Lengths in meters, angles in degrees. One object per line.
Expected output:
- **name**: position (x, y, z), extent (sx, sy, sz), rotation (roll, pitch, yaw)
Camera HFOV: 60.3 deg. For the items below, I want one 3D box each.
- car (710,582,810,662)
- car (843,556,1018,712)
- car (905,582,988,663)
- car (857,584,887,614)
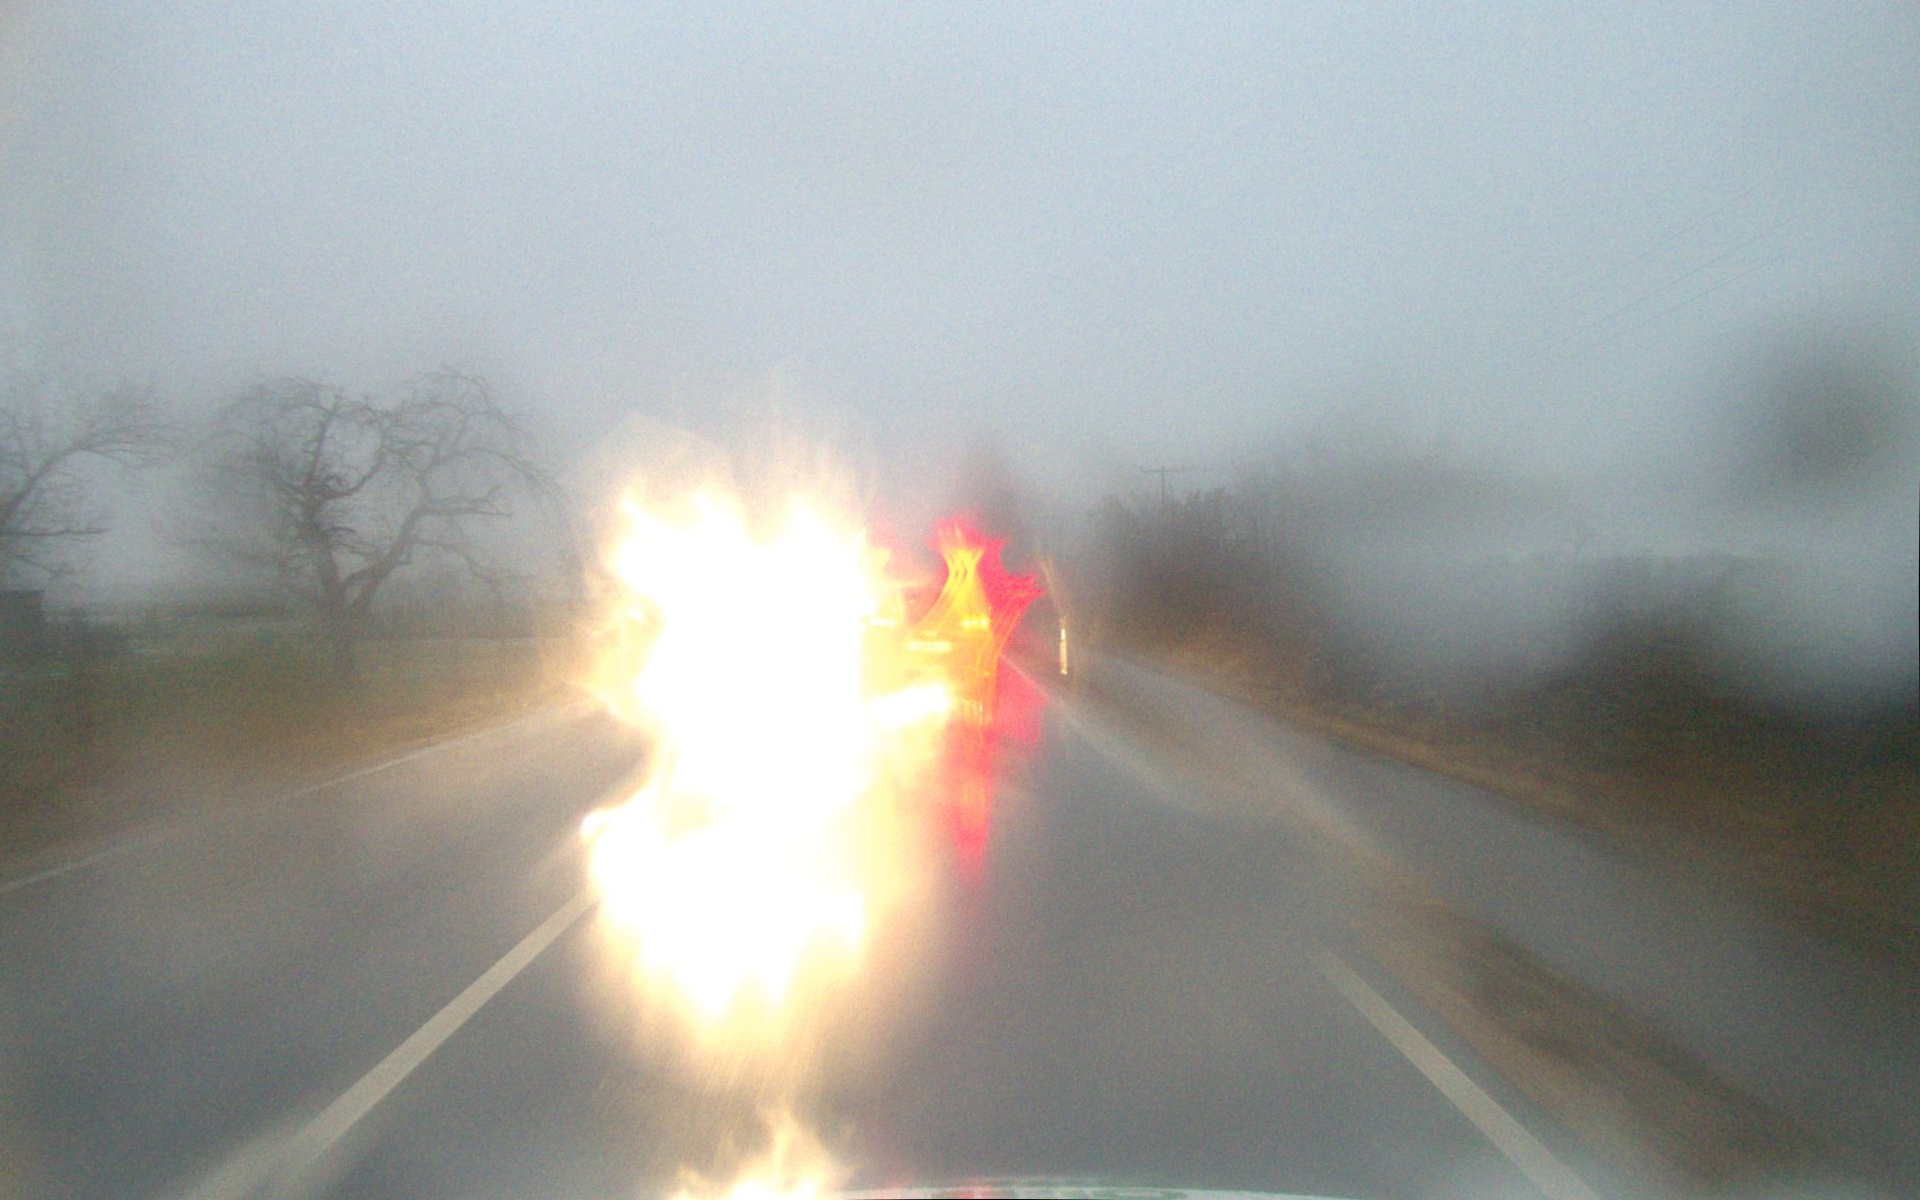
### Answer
- **car**: position (-4.276, 0.435, 35.884), extent (1.726, 1.582, 3.999), rotation (-1, 1, -1)
- **car**: position (-0.379, 0.389, 22.231), extent (2.077, 1.851, 4.979), rotation (0, 0, -1)
- **car**: position (-0.339, 0.536, 41.448), extent (1.953, 1.881, 3.999), rotation (1, 0, -1)
- **car**: position (-5.621, -0.101, 105.921), extent (1.787, 1.838, 4.493), rotation (-2, 0, -2)
